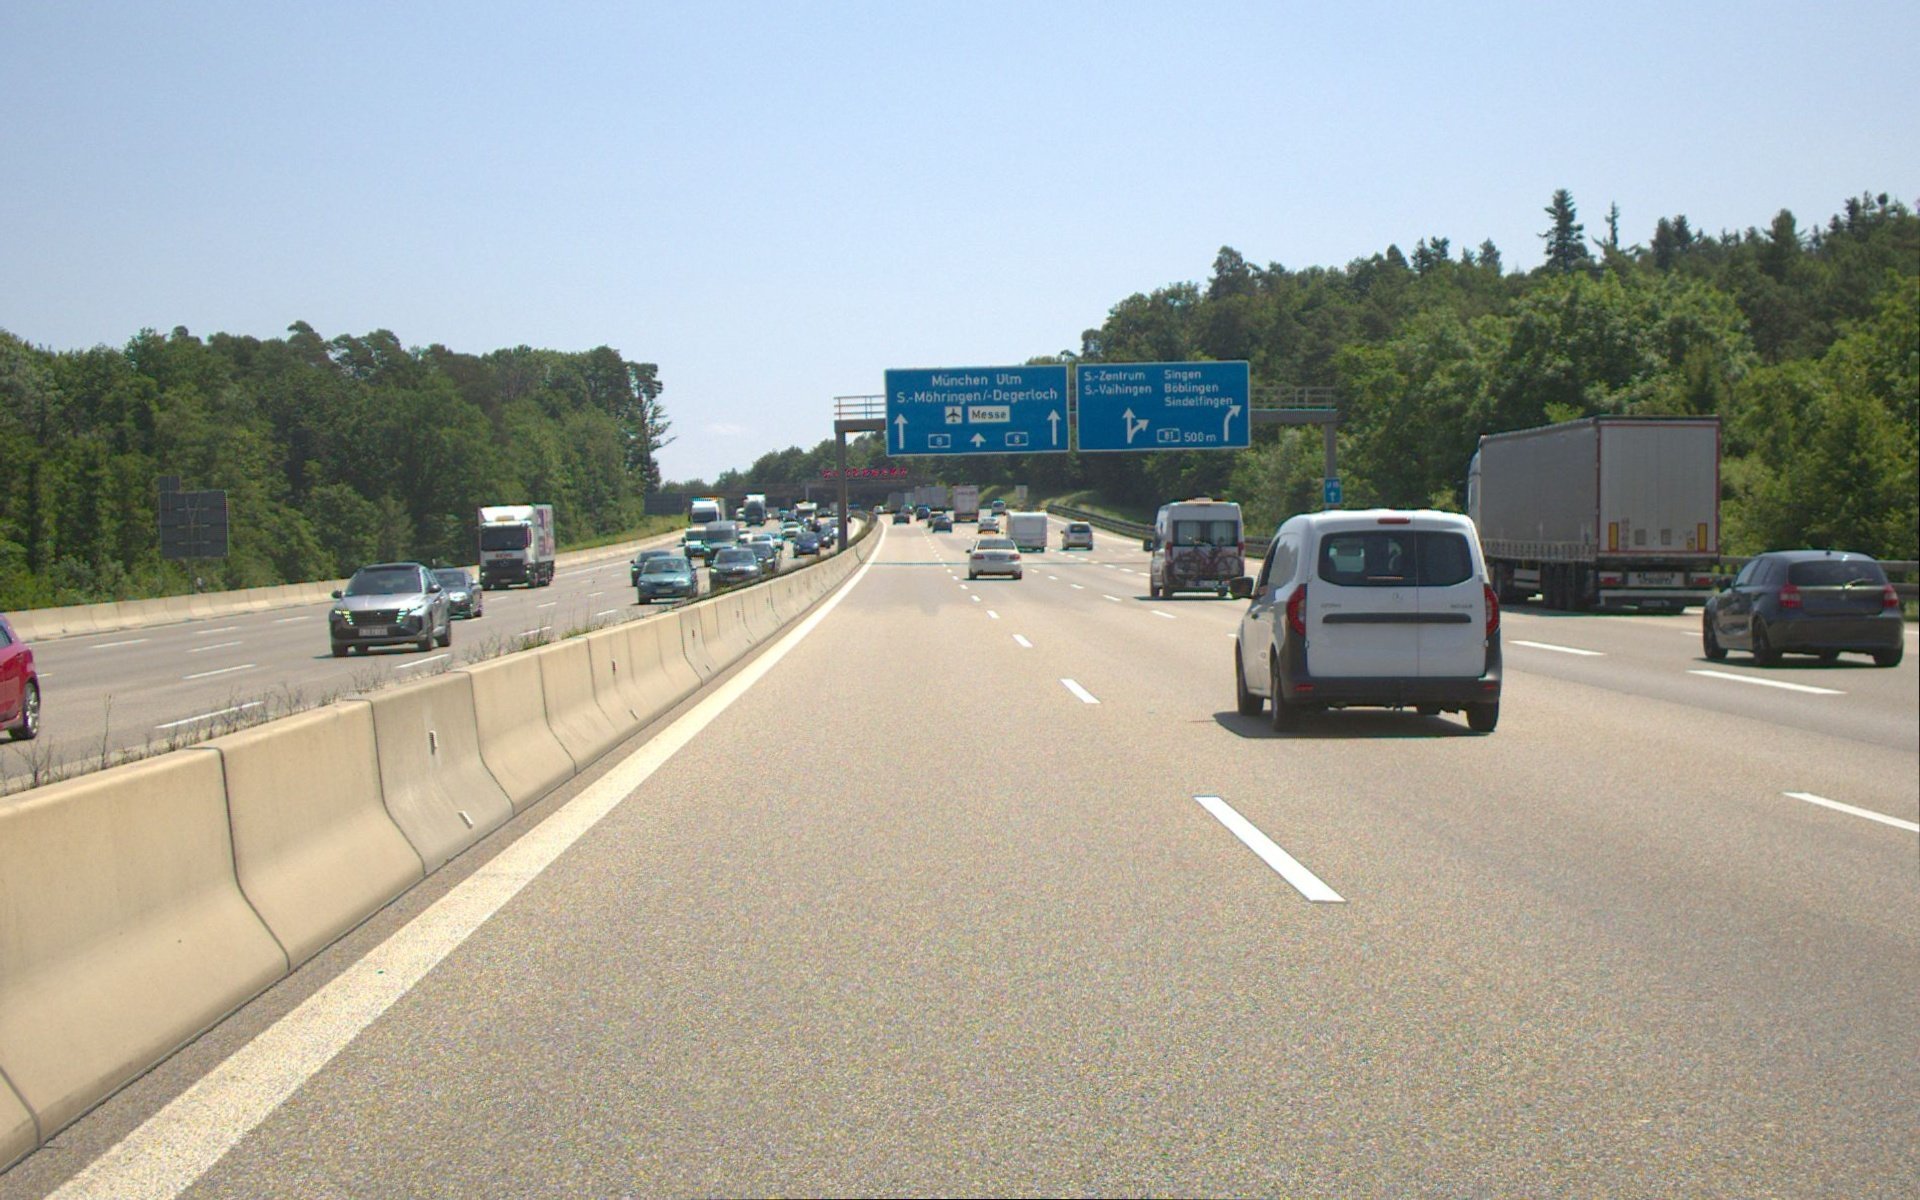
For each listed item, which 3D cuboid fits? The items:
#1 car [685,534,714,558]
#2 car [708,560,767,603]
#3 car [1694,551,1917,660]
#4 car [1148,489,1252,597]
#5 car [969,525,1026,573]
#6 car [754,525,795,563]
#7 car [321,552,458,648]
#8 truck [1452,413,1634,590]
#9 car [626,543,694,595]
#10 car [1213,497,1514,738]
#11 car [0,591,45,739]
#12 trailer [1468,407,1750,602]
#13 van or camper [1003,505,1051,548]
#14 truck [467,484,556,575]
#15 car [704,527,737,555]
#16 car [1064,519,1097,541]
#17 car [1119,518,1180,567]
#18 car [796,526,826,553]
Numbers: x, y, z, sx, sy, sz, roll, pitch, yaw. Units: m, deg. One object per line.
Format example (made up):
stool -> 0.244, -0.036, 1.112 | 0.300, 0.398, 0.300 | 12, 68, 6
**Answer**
car -> -17.750, -3.681, 234.495 | 1.705, 1.559, 3.760 | -1, 1, -1
car -> -7.717, -0.656, 119.627 | 1.752, 1.372, 4.491 | -2, 1, -1
car -> 10.461, 0.032, 42.830 | 1.670, 1.269, 4.290 | 0, 1, -1
car -> 6.180, -1.483, 89.059 | 2.143, 2.643, 5.710 | -2, 1, -1
car -> 1.327, -1.808, 122.955 | 1.843, 1.623, 4.553 | -2, 1, -1
car -> -8.257, -2.498, 153.361 | 1.614, 1.656, 3.849 | -2, 1, 0
car -> -10.922, -0.033, 66.080 | 1.970, 1.718, 4.509 | -2, 1, -2
truck -> 13.939, -2.377, 82.719 | 3.254, 4.092, 5.988 | 0, 2, -1
car -> -9.244, -0.968, 106.036 | 1.717, 1.507, 4.351 | -2, 1, -1
car -> 3.323, 0.104, 29.170 | 1.859, 1.819, 4.612 | -2, 1, -1
car -> -10.725, 0.722, 35.156 | 1.572, 1.506, 4.030 | -2, 1, 1
trailer -> 14.106, -2.119, 76.248 | 3.287, 3.917, 13.892 | 0, 2, -1
van or camper -> 4.051, -4.480, 210.038 | 2.645, 2.530, 6.502 | -2, 1, -1
truck -> -20.458, -3.169, 157.321 | 2.719, 3.925, 10.237 | -2, 1, -1
car -> -13.846, -3.417, 198.894 | 1.705, 1.559, 3.760 | -1, 1, -1
car -> 7.659, -4.462, 219.136 | 1.835, 1.333, 3.643 | -2, 1, -1
car -> 6.674, -2.023, 121.443 | 1.818, 1.634, 4.000 | -2, 1, -1
car -> -9.540, -3.885, 220.280 | 1.705, 1.656, 3.760 | -1, 1, -1
